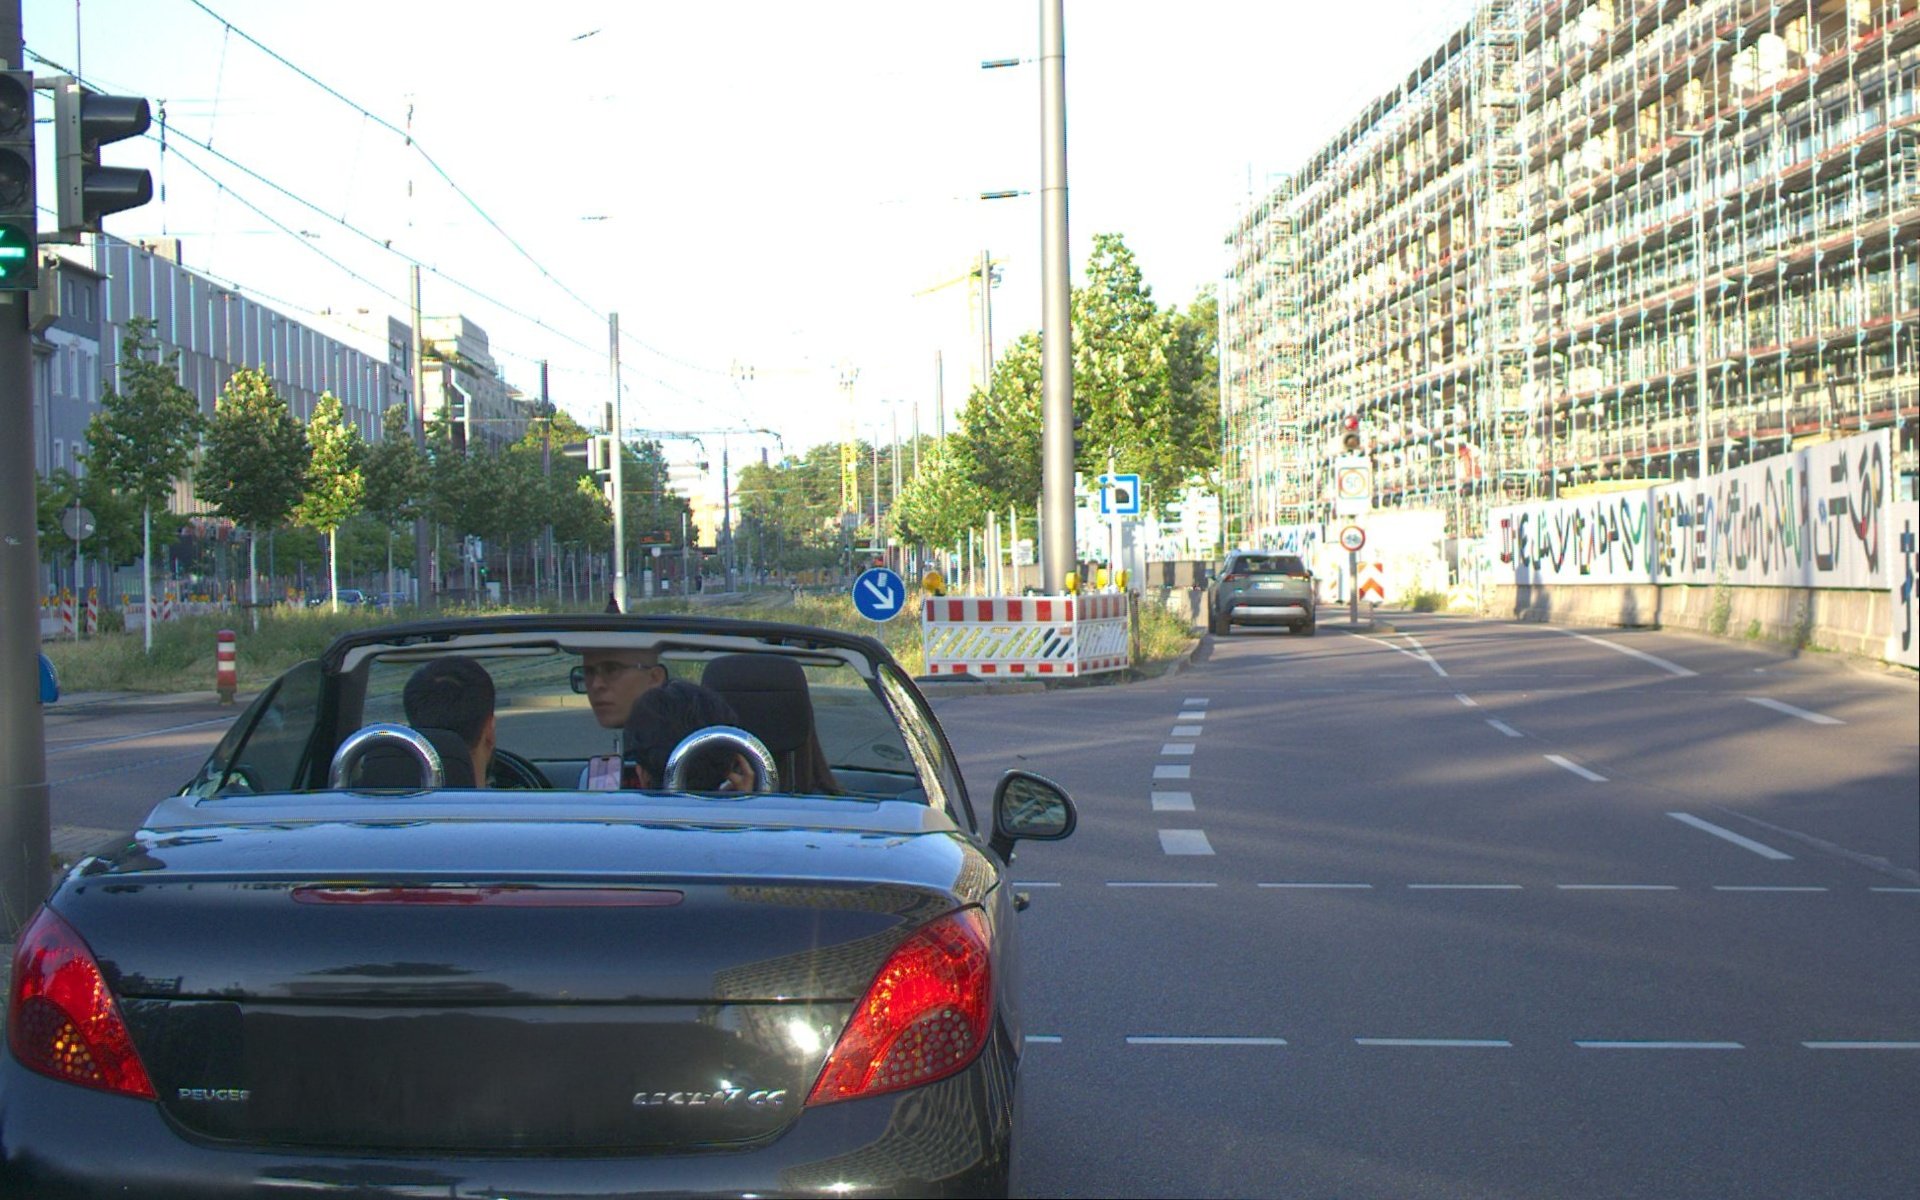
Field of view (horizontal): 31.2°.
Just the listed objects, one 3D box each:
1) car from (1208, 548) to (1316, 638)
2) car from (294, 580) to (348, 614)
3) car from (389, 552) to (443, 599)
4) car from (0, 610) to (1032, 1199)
[{"bbox_3d":[5.789,-0.166,66.300,1.834,1.667,4.282,0,1,2],"label":"car"},{"bbox_3d":[-27.770,-0.142,149.530,1.658,1.426,3.895,1,1,0],"label":"car"},{"bbox_3d":[-23.605,-1.079,149.302,1.658,1.957,4.266,1,1,0],"label":"car"},{"bbox_3d":[-0.745,0.732,7.045,1.674,1.347,4.000,0,1,0],"label":"car"}]
